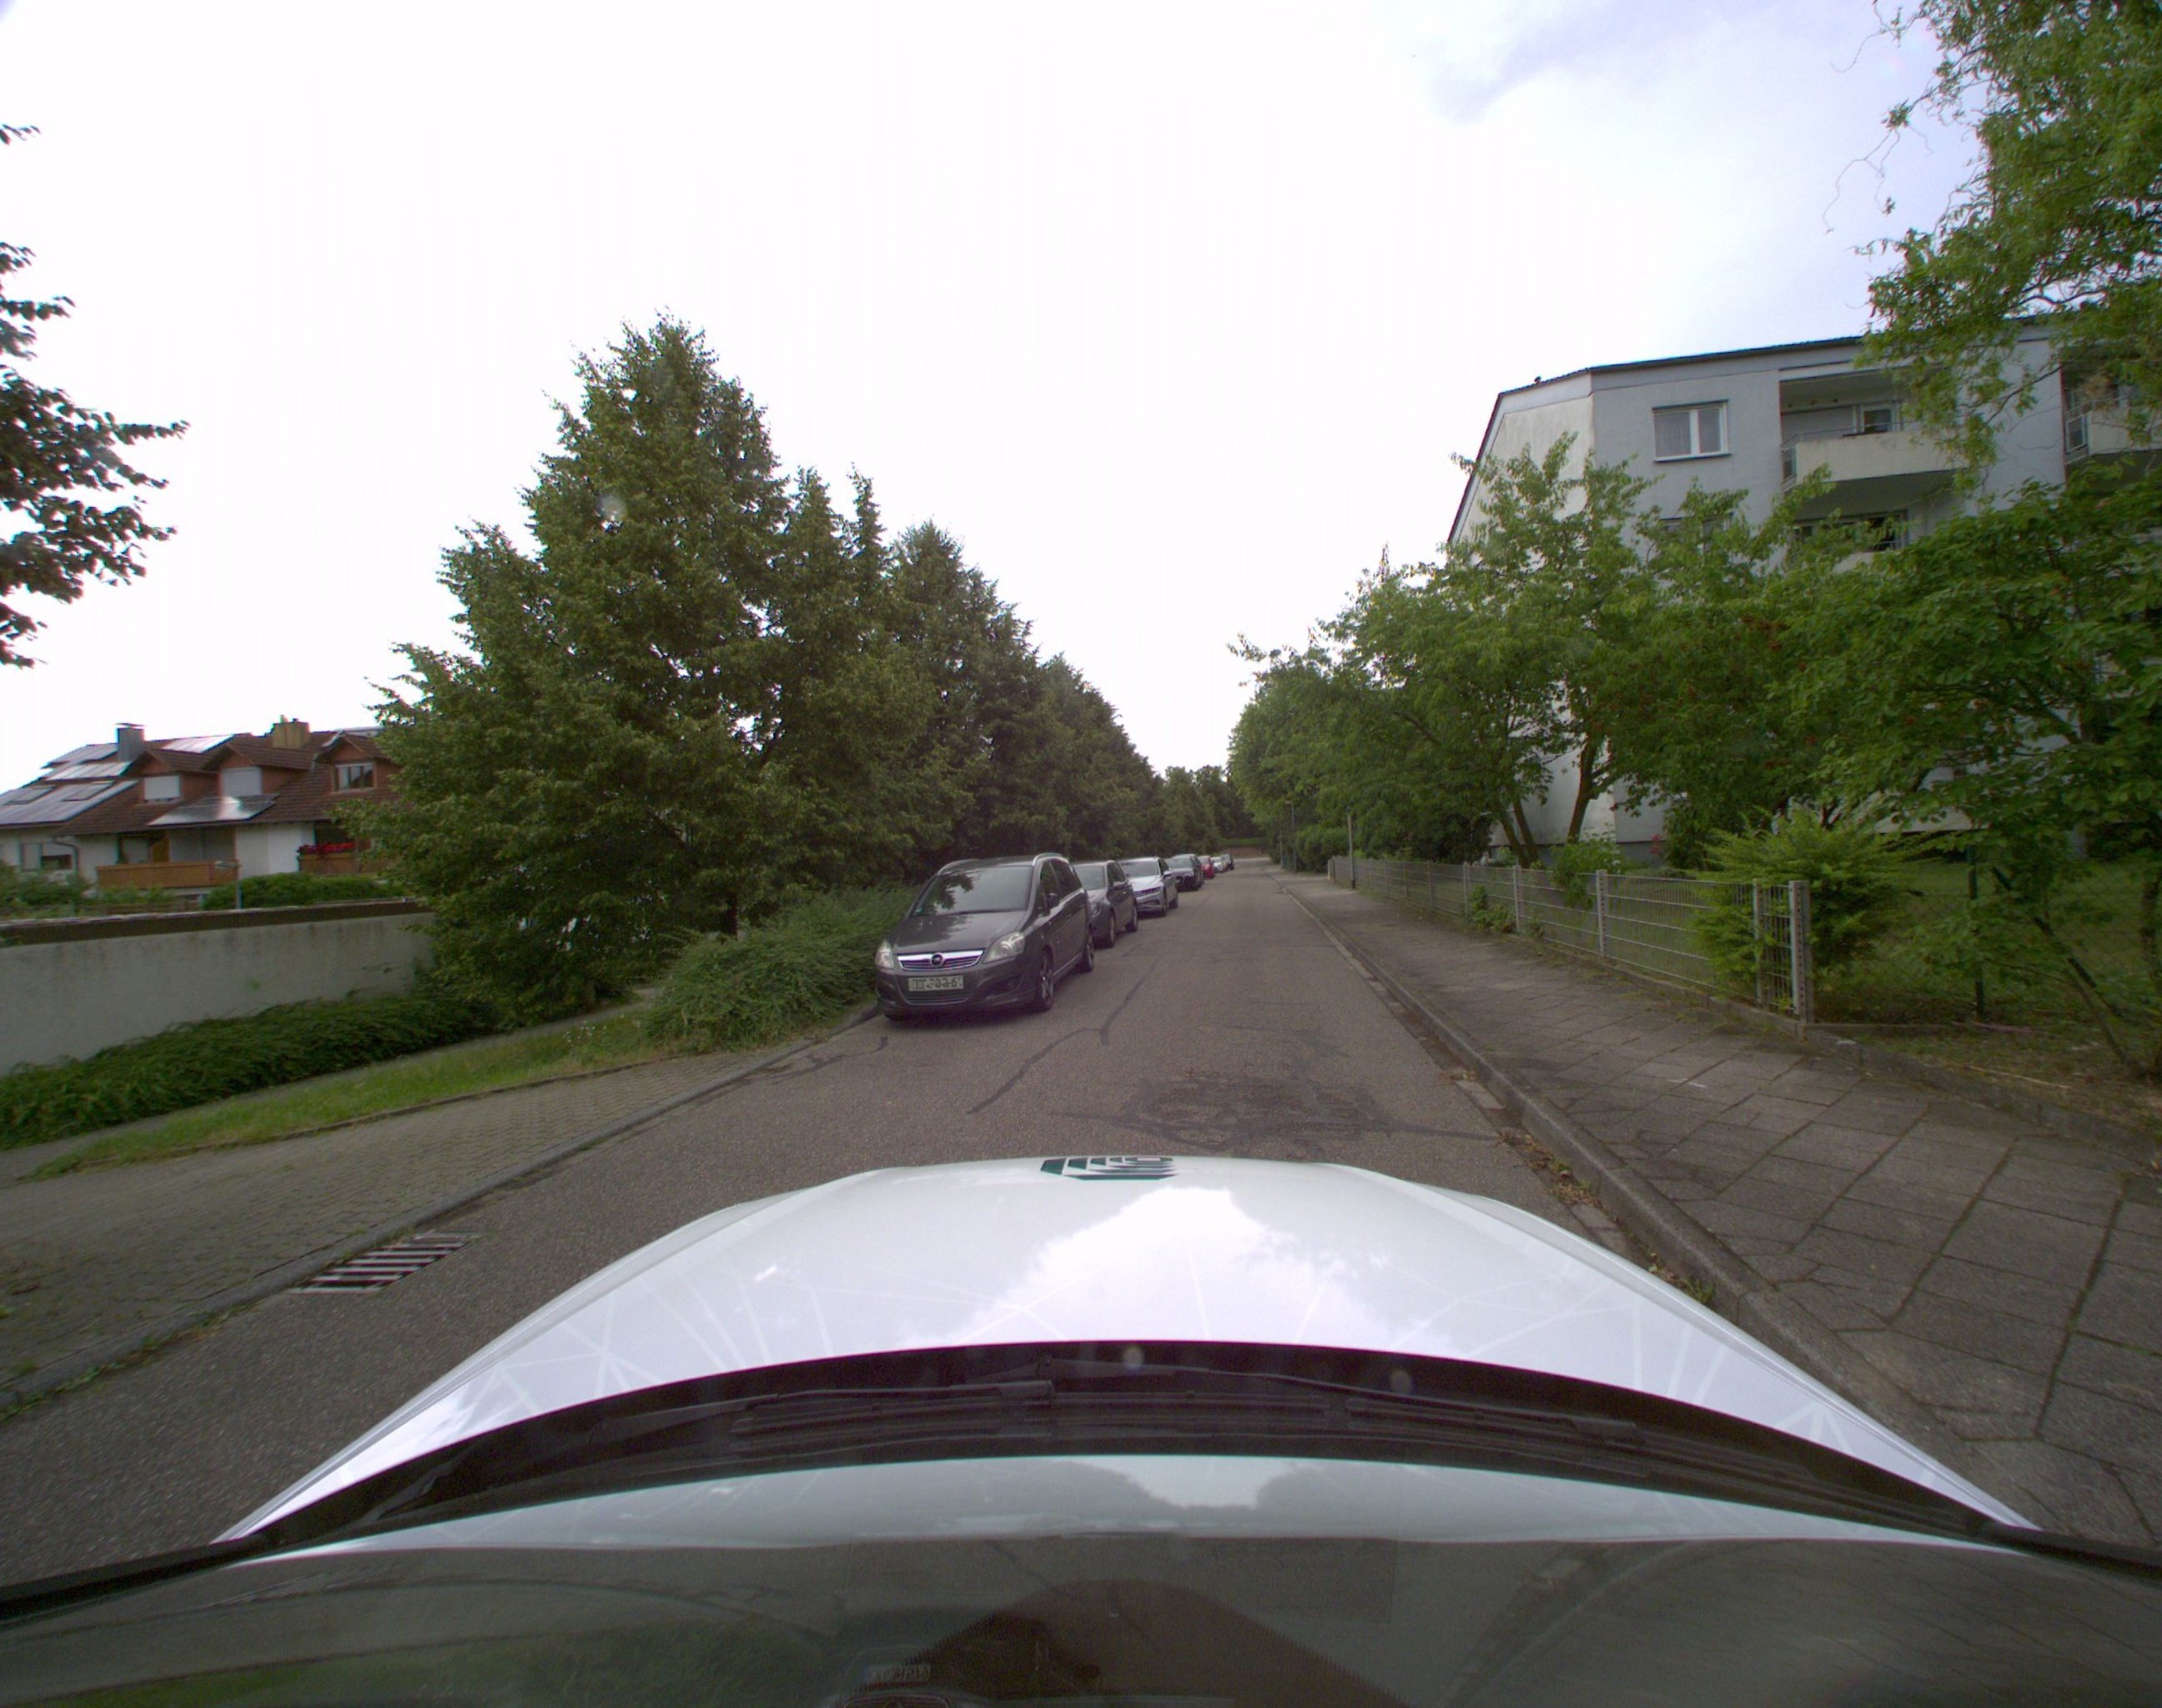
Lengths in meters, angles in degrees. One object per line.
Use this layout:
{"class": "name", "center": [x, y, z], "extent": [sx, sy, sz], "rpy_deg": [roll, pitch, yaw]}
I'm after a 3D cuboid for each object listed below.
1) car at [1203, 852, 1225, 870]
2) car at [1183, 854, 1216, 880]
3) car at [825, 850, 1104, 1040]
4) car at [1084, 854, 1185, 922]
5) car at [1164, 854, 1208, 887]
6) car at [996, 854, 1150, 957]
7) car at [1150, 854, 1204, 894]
{"class": "car", "center": [12.226, 0.626, 74.704], "extent": [1.740, 1.519, 4.013], "rpy_deg": [-3, 0, 12]}
{"class": "car", "center": [7.697, 0.829, 52.483], "extent": [1.740, 1.425, 4.013], "rpy_deg": [-5, -1, 12]}
{"class": "car", "center": [-1.012, 0.819, 9.575], "extent": [1.746, 1.593, 4.566], "rpy_deg": [-5, -1, 11]}
{"class": "car", "center": [1.511, 0.797, 21.099], "extent": [1.764, 1.428, 4.495], "rpy_deg": [-5, -1, 13]}
{"class": "car", "center": [5.350, 0.788, 41.068], "extent": [1.740, 1.425, 4.013], "rpy_deg": [-5, -1, 12]}
{"class": "car", "center": [0.024, 0.834, 15.110], "extent": [1.745, 1.478, 4.321], "rpy_deg": [-5, -1, 13]}
{"class": "car", "center": [4.093, 0.780, 34.225], "extent": [1.740, 1.425, 4.013], "rpy_deg": [-5, -1, 12]}
